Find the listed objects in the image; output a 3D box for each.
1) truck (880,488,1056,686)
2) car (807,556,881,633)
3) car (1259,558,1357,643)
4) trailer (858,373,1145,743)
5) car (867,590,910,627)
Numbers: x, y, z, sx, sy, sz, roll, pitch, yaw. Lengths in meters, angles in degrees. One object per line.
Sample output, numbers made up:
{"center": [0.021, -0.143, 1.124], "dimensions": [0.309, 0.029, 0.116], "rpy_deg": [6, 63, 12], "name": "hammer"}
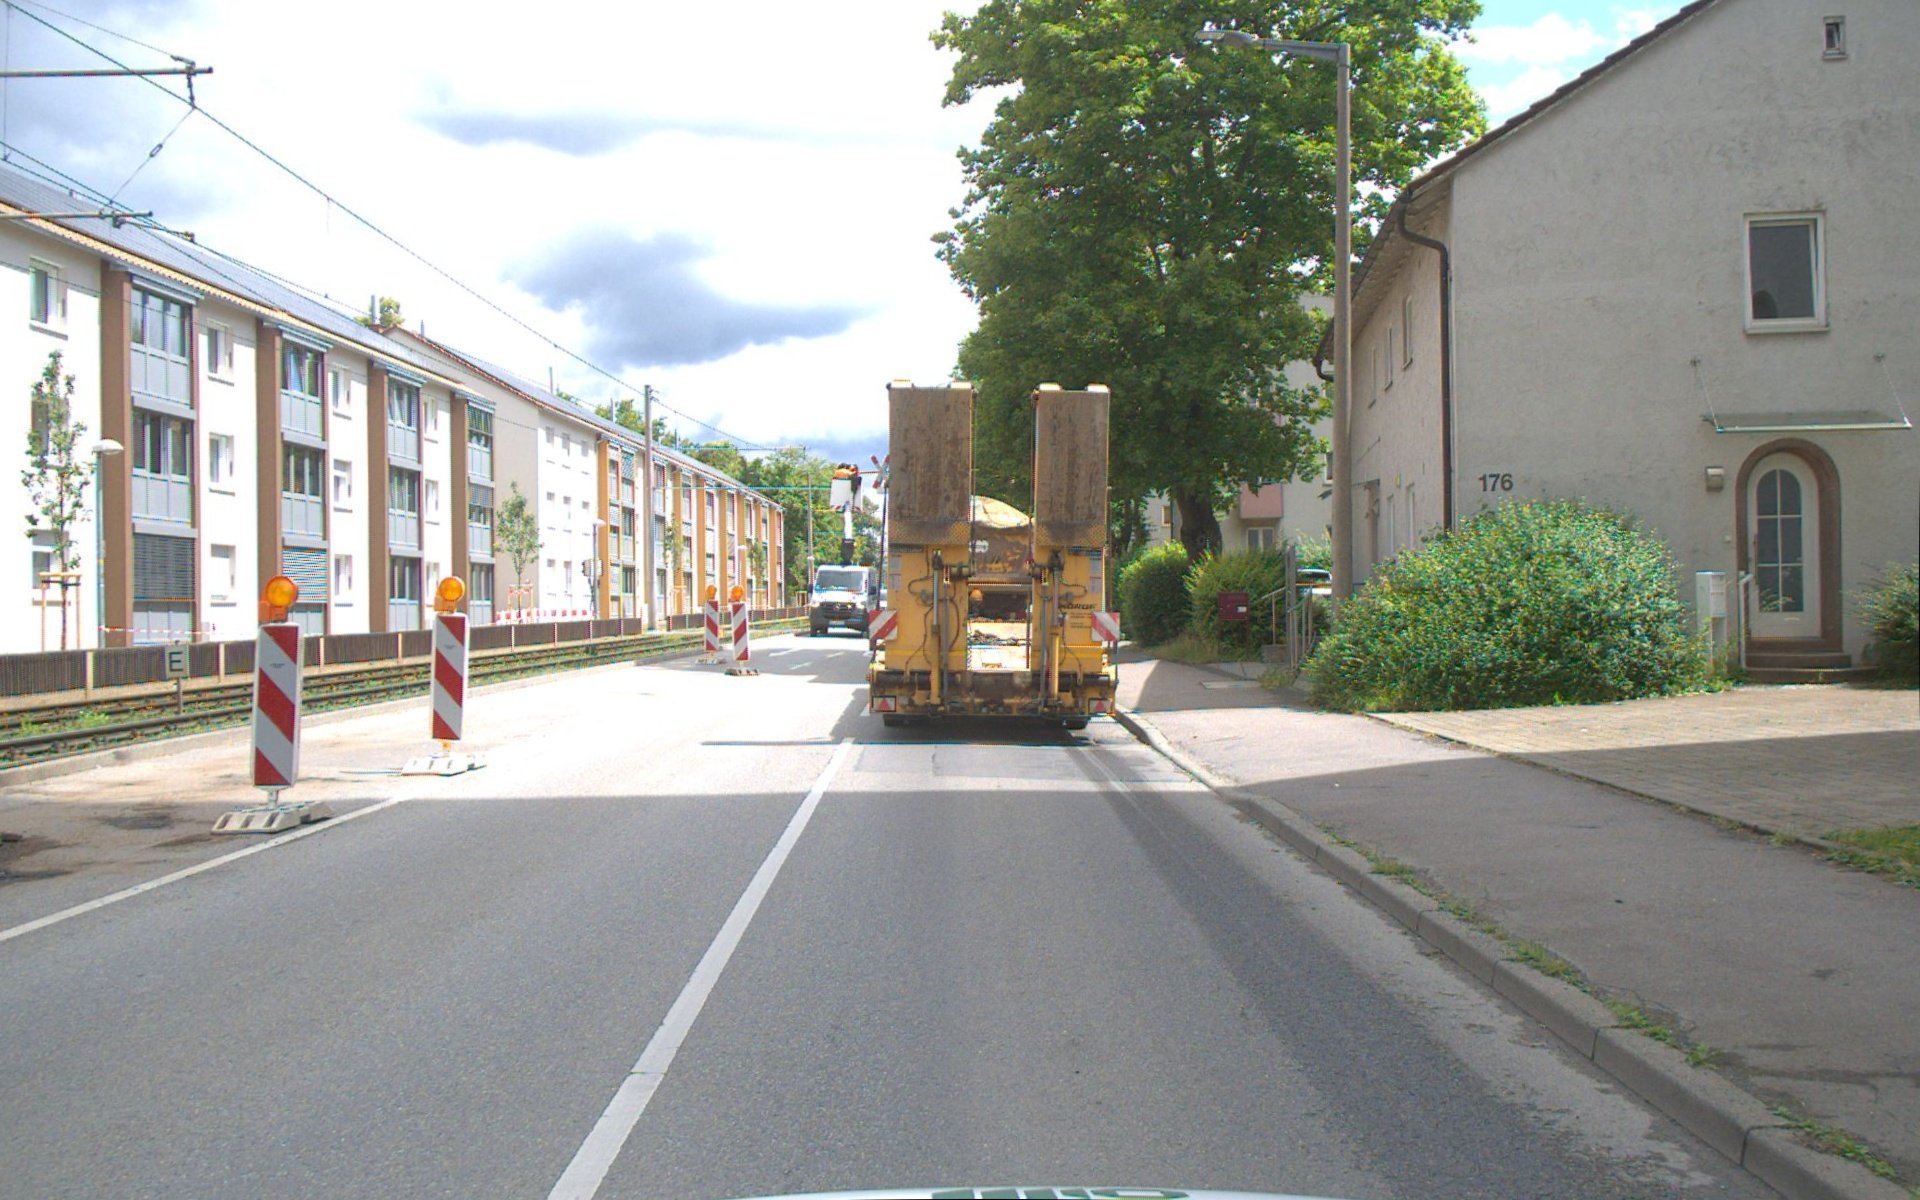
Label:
{"center": [0.013, -0.227, 31.122], "dimensions": [2.858, 3.222, 7.677], "rpy_deg": [1, 0, -2], "name": "truck"}
{"center": [-3.873, -0.198, 56.267], "dimensions": [1.952, 2.473, 6.322], "rpy_deg": [0, 0, 1], "name": "car"}
{"center": [7.503, 0.013, 35.941], "dimensions": [1.773, 1.678, 4.003], "rpy_deg": [-2, 0, 8], "name": "car"}
{"center": [0.258, -0.426, 21.777], "dimensions": [2.766, 3.585, 11.048], "rpy_deg": [1, 0, -2], "name": "trailer"}
{"center": [-3.102, 0.357, 72.098], "dimensions": [1.683, 1.579, 3.917], "rpy_deg": [1, 0, 0], "name": "car"}
